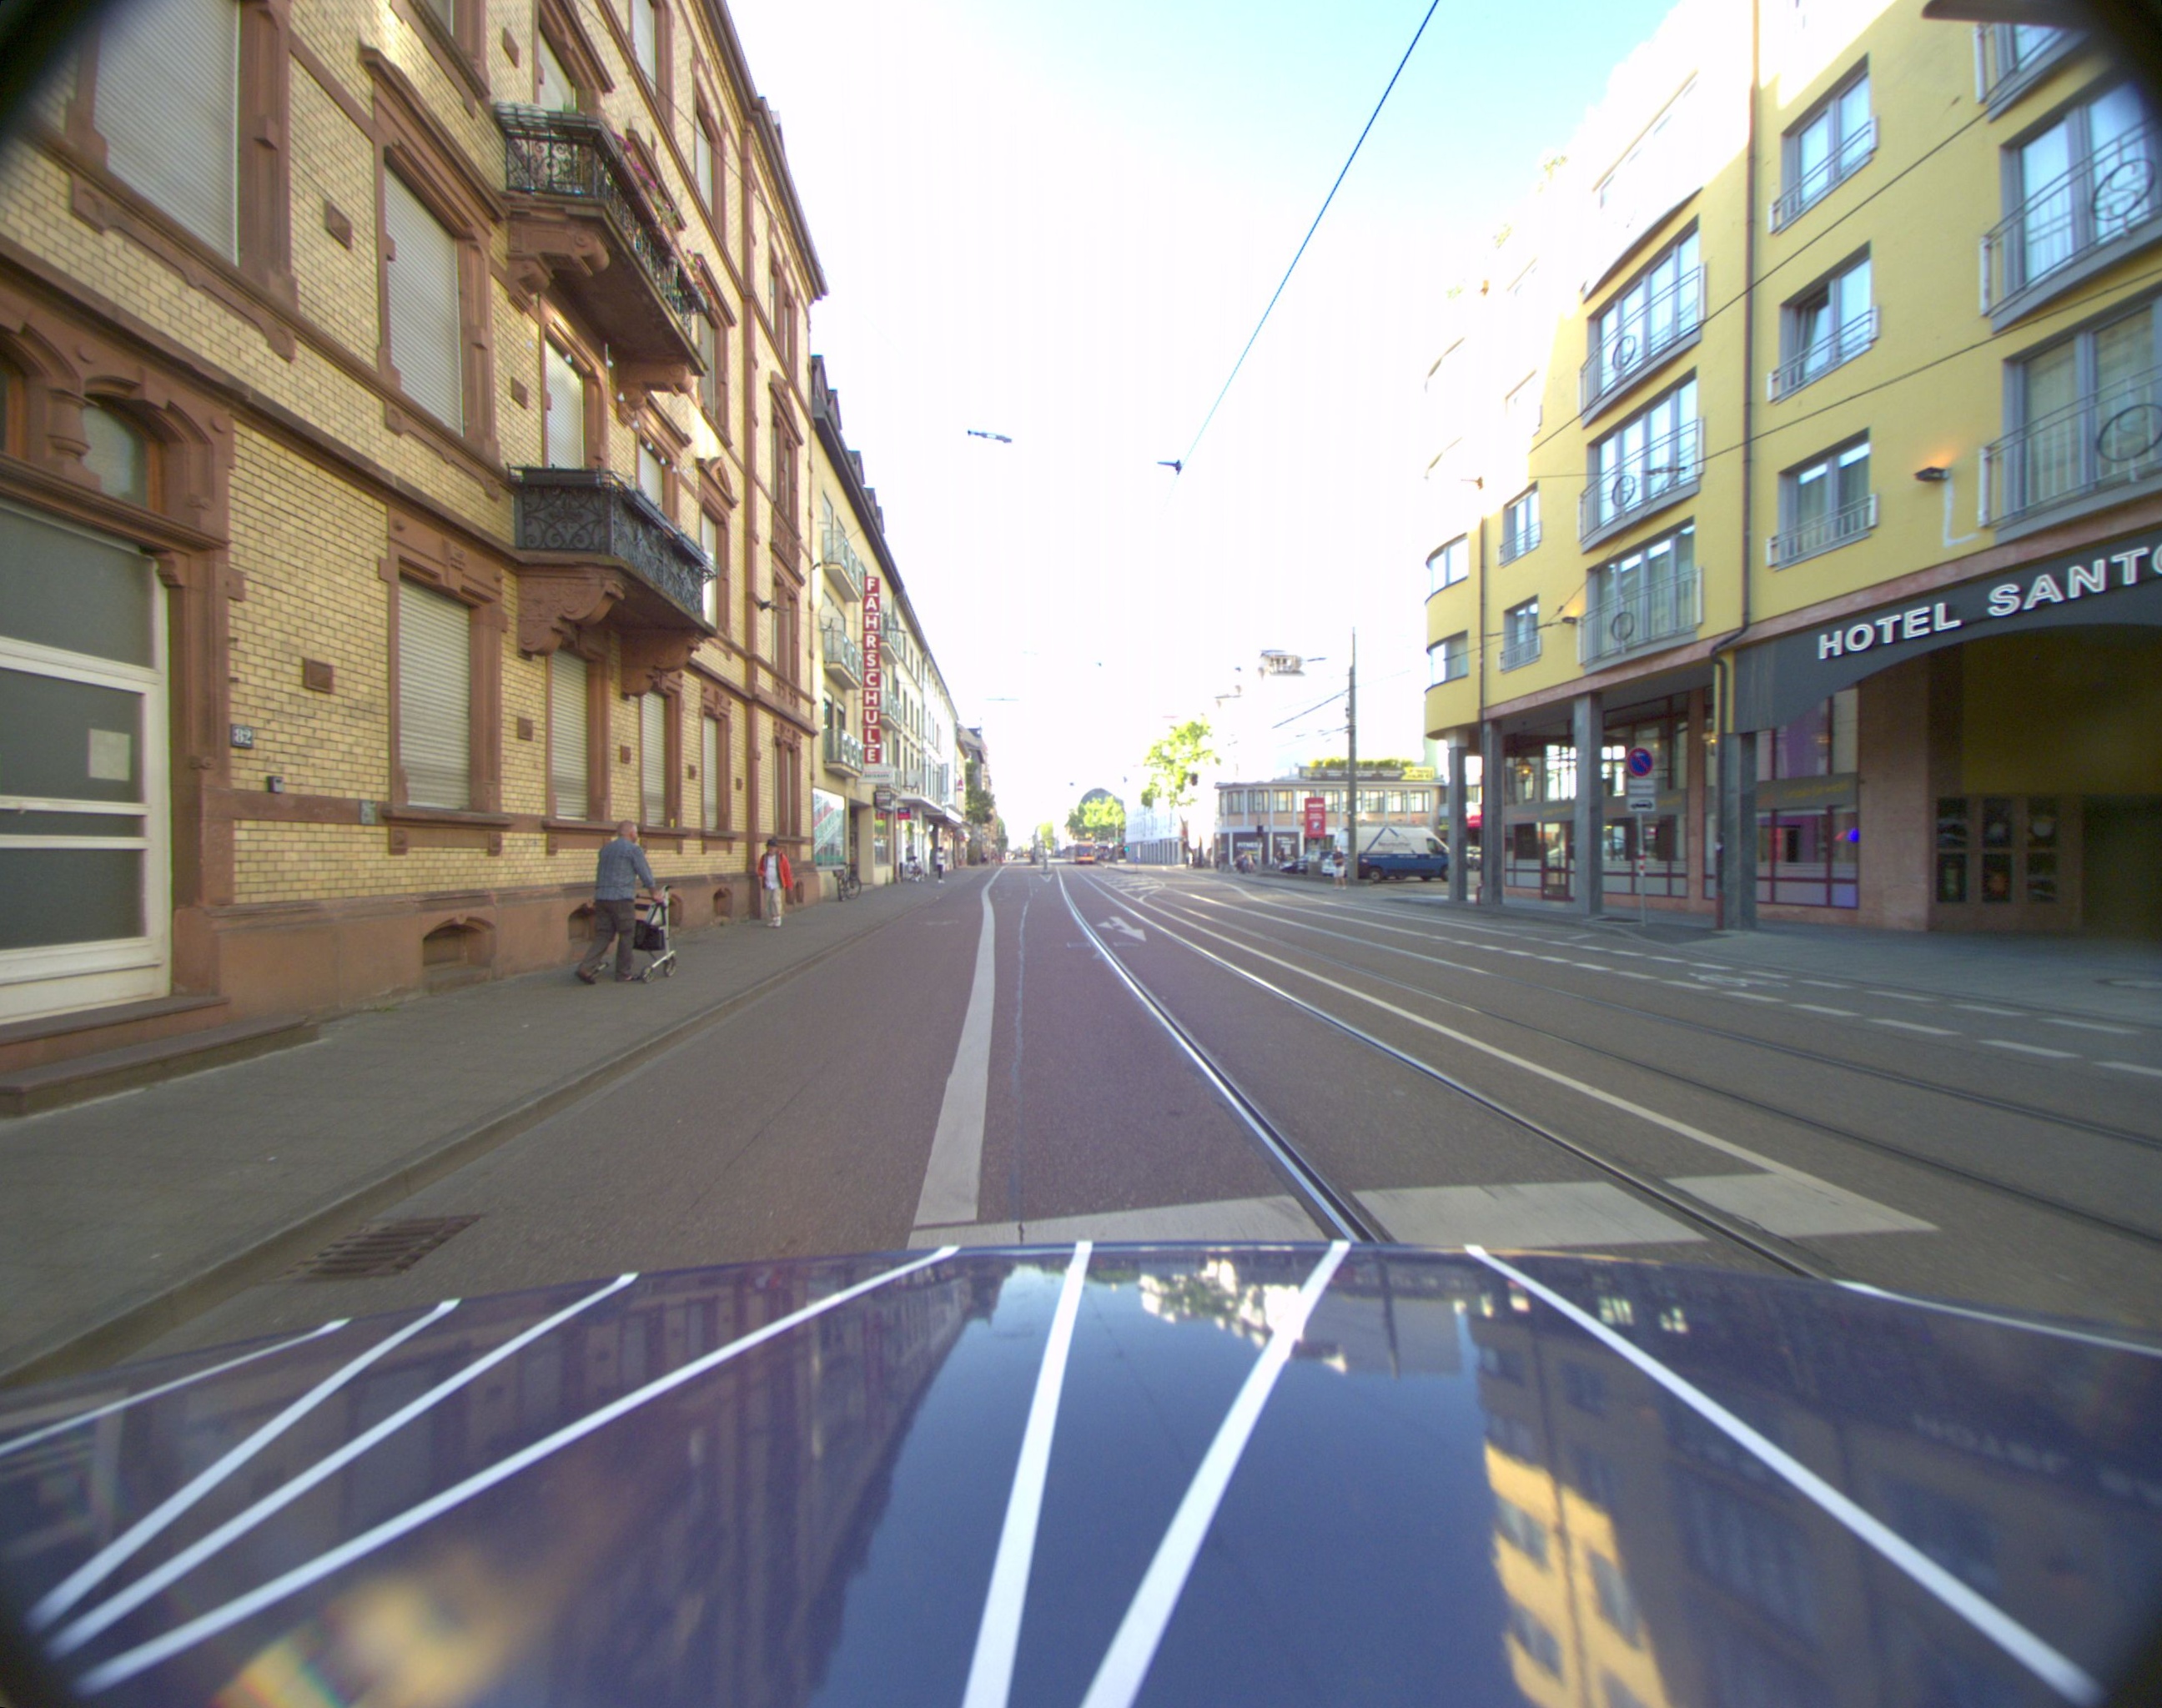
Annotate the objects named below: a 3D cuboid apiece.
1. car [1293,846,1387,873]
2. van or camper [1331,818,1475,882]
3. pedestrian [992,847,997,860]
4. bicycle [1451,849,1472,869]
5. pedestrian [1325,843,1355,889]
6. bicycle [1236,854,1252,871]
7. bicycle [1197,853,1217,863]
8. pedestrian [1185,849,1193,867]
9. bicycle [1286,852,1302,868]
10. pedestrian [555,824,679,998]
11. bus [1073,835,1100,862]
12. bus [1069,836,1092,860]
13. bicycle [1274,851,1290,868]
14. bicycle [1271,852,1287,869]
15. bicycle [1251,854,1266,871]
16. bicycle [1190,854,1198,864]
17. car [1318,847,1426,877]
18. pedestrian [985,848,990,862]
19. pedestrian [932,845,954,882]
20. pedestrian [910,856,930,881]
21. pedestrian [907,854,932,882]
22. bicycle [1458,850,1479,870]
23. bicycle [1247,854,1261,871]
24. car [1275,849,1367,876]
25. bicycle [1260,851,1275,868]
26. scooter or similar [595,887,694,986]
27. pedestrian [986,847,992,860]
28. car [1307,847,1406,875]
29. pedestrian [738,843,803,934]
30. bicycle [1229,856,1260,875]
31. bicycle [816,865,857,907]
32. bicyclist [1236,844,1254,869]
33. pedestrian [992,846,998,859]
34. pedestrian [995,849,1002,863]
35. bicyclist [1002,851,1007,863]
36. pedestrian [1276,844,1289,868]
[{"bbox_3d":[14.417,0.294,42.398,4.601,1.467,1.879,0,0,-4],"label":"car"},{"bbox_3d":[14.628,-0.191,34.705,5.622,2.810,2.314,0,0,-4],"label":"van or camper"},{"bbox_3d":[-11.169,-0.025,98.109,0.651,1.706,0.805,0,1,-11],"label":"pedestrian"},{"bbox_3d":[23.002,0.310,45.973,0.432,1.180,1.832,0,0,3],"label":"bicycle"},{"bbox_3d":[10.466,0.478,30.751,0.836,1.822,0.909,0,0,-5],"label":"pedestrian"},{"bbox_3d":[11.784,0.599,54.936,0.447,1.180,1.830,0,0,-10],"label":"bicycle"},{"bbox_3d":[12.159,0.422,73.596,1.850,0.906,0.389,-2,-3,1],"label":"bicycle"},{"bbox_3d":[10.593,0.402,74.651,0.630,1.706,0.826,0,1,23],"label":"pedestrian"},{"bbox_3d":[15.126,0.421,54.063,0.449,1.180,1.830,0,0,-7],"label":"bicycle"},{"bbox_3d":[-5.083,0.609,8.377,0.808,1.789,0.761,4,0,-5],"label":"pedestrian"},{"bbox_3d":[0.682,-0.780,106.355,2.819,3.547,13.672,0,1,-4],"label":"bus"},{"bbox_3d":[-0.125,-0.893,119.719,2.819,3.547,13.672,0,1,-3],"label":"bus"},{"bbox_3d":[14.324,0.360,54.146,0.449,1.180,1.830,0,0,-7],"label":"bicycle"},{"bbox_3d":[13.929,0.462,53.511,0.449,1.180,1.830,0,0,-7],"label":"bicycle"},{"bbox_3d":[12.762,0.619,54.587,0.449,1.180,1.830,0,0,-7],"label":"bicycle"},{"bbox_3d":[10.991,0.511,73.769,0.389,0.907,1.850,-2,1,-3],"label":"bicycle"},{"bbox_3d":[14.226,0.379,37.332,4.601,1.467,1.879,0,0,-4],"label":"car"},{"bbox_3d":[-12.208,0.133,99.333,0.650,1.760,0.696,0,1,0],"label":"pedestrian"},{"bbox_3d":[-6.992,0.474,38.475,0.706,1.801,0.680,5,0,11],"label":"pedestrian"},{"bbox_3d":[-8.043,0.704,37.931,0.708,1.168,1.014,5,0,-24],"label":"pedestrian"},{"bbox_3d":[-7.861,0.670,36.922,0.833,1.248,0.705,5,0,-39],"label":"pedestrian"},{"bbox_3d":[23.484,0.361,46.043,0.432,1.180,1.832,0,0,3],"label":"bicycle"},{"bbox_3d":[12.346,0.621,54.357,0.441,1.180,1.830,0,0,-5],"label":"bicycle"},{"bbox_3d":[14.213,0.494,45.142,4.908,1.574,1.879,0,0,-4],"label":"car"},{"bbox_3d":[13.339,0.414,54.393,0.444,1.180,1.830,0,0,-7],"label":"bicycle"},{"bbox_3d":[-5.152,0.964,9.006,0.807,1.064,0.521,4,1,-5],"label":"scooter or similar"},{"bbox_3d":[-11.833,-0.057,97.886,0.651,1.569,0.682,0,1,-11],"label":"pedestrian"},{"bbox_3d":[14.558,0.362,40.273,4.601,1.467,1.879,0,0,-4],"label":"car"},{"bbox_3d":[-5.866,0.641,14.407,0.800,1.618,0.825,5,-1,-4],"label":"pedestrian"},{"bbox_3d":[10.305,0.699,47.874,1.834,1.164,0.681,0,3,-23],"label":"bicycle"},{"bbox_3d":[-6.970,0.884,21.763,0.556,1.055,2.310,2,0,-4],"label":"bicycle"},{"bbox_3d":[10.350,0.131,47.862,0.838,1.541,0.690,0,3,-23],"label":"bicyclist"},{"bbox_3d":[-12.498,-0.221,110.844,0.807,1.789,0.761,0,1,-4],"label":"pedestrian"},{"bbox_3d":[-10.397,0.286,95.748,0.694,1.760,0.696,0,1,0],"label":"pedestrian"},{"bbox_3d":[-10.394,0.344,103.415,0.677,1.604,0.837,-1,1,-6],"label":"bicyclist"},{"bbox_3d":[14.019,0.157,52.918,0.683,1.687,0.683,0,0,-6],"label":"pedestrian"}]
